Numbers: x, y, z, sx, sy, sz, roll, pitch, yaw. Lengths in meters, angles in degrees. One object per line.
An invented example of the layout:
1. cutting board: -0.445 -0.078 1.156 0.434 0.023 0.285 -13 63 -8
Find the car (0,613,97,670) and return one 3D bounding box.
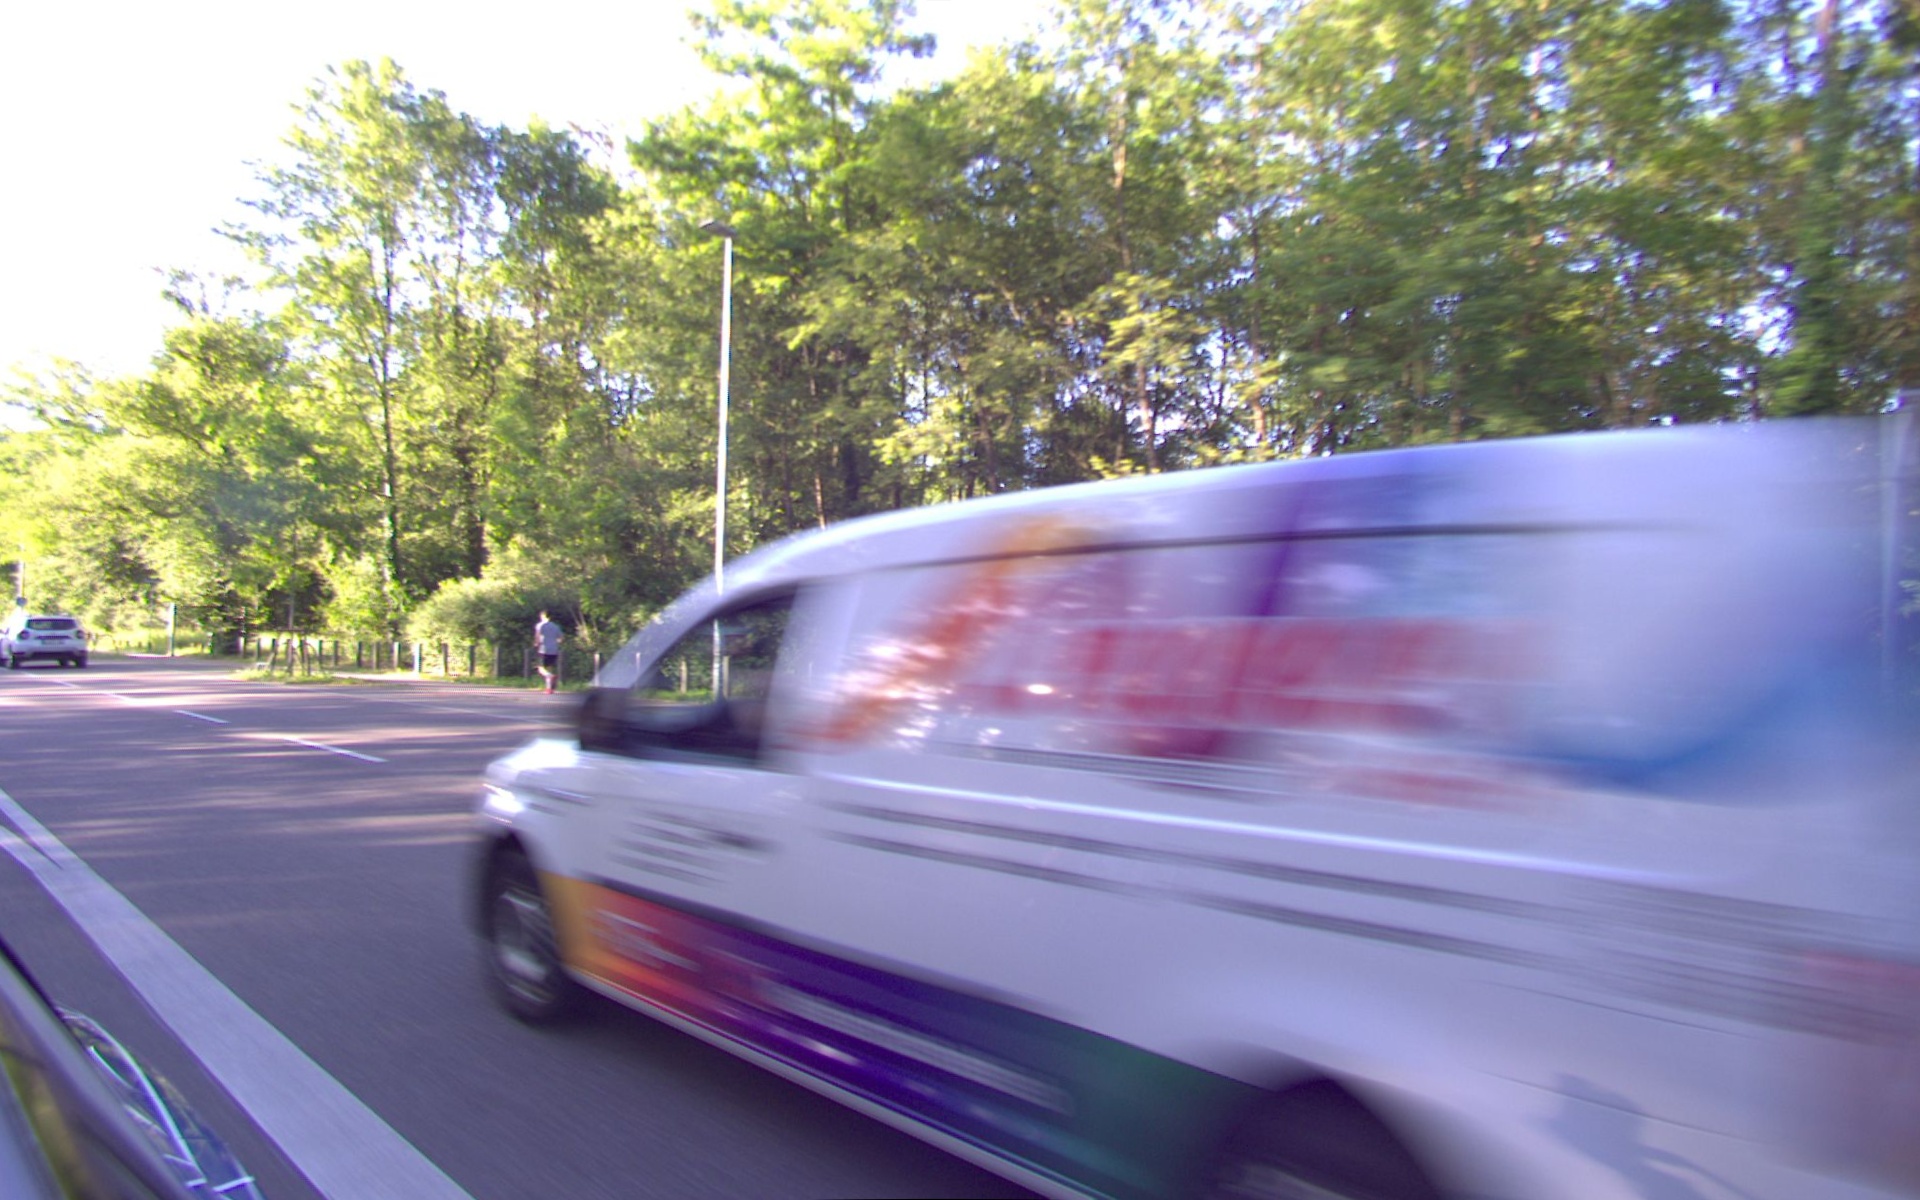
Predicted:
1. car: -28.645 1.260 31.548 4.446 1.672 1.973 -1 -2 41

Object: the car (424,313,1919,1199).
1. car: 0.327 0.613 3.074 4.798 1.770 1.886 -1 -2 42

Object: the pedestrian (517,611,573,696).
1. pedestrian: -8.847 1.136 21.597 0.737 1.781 0.763 -1 -4 36
